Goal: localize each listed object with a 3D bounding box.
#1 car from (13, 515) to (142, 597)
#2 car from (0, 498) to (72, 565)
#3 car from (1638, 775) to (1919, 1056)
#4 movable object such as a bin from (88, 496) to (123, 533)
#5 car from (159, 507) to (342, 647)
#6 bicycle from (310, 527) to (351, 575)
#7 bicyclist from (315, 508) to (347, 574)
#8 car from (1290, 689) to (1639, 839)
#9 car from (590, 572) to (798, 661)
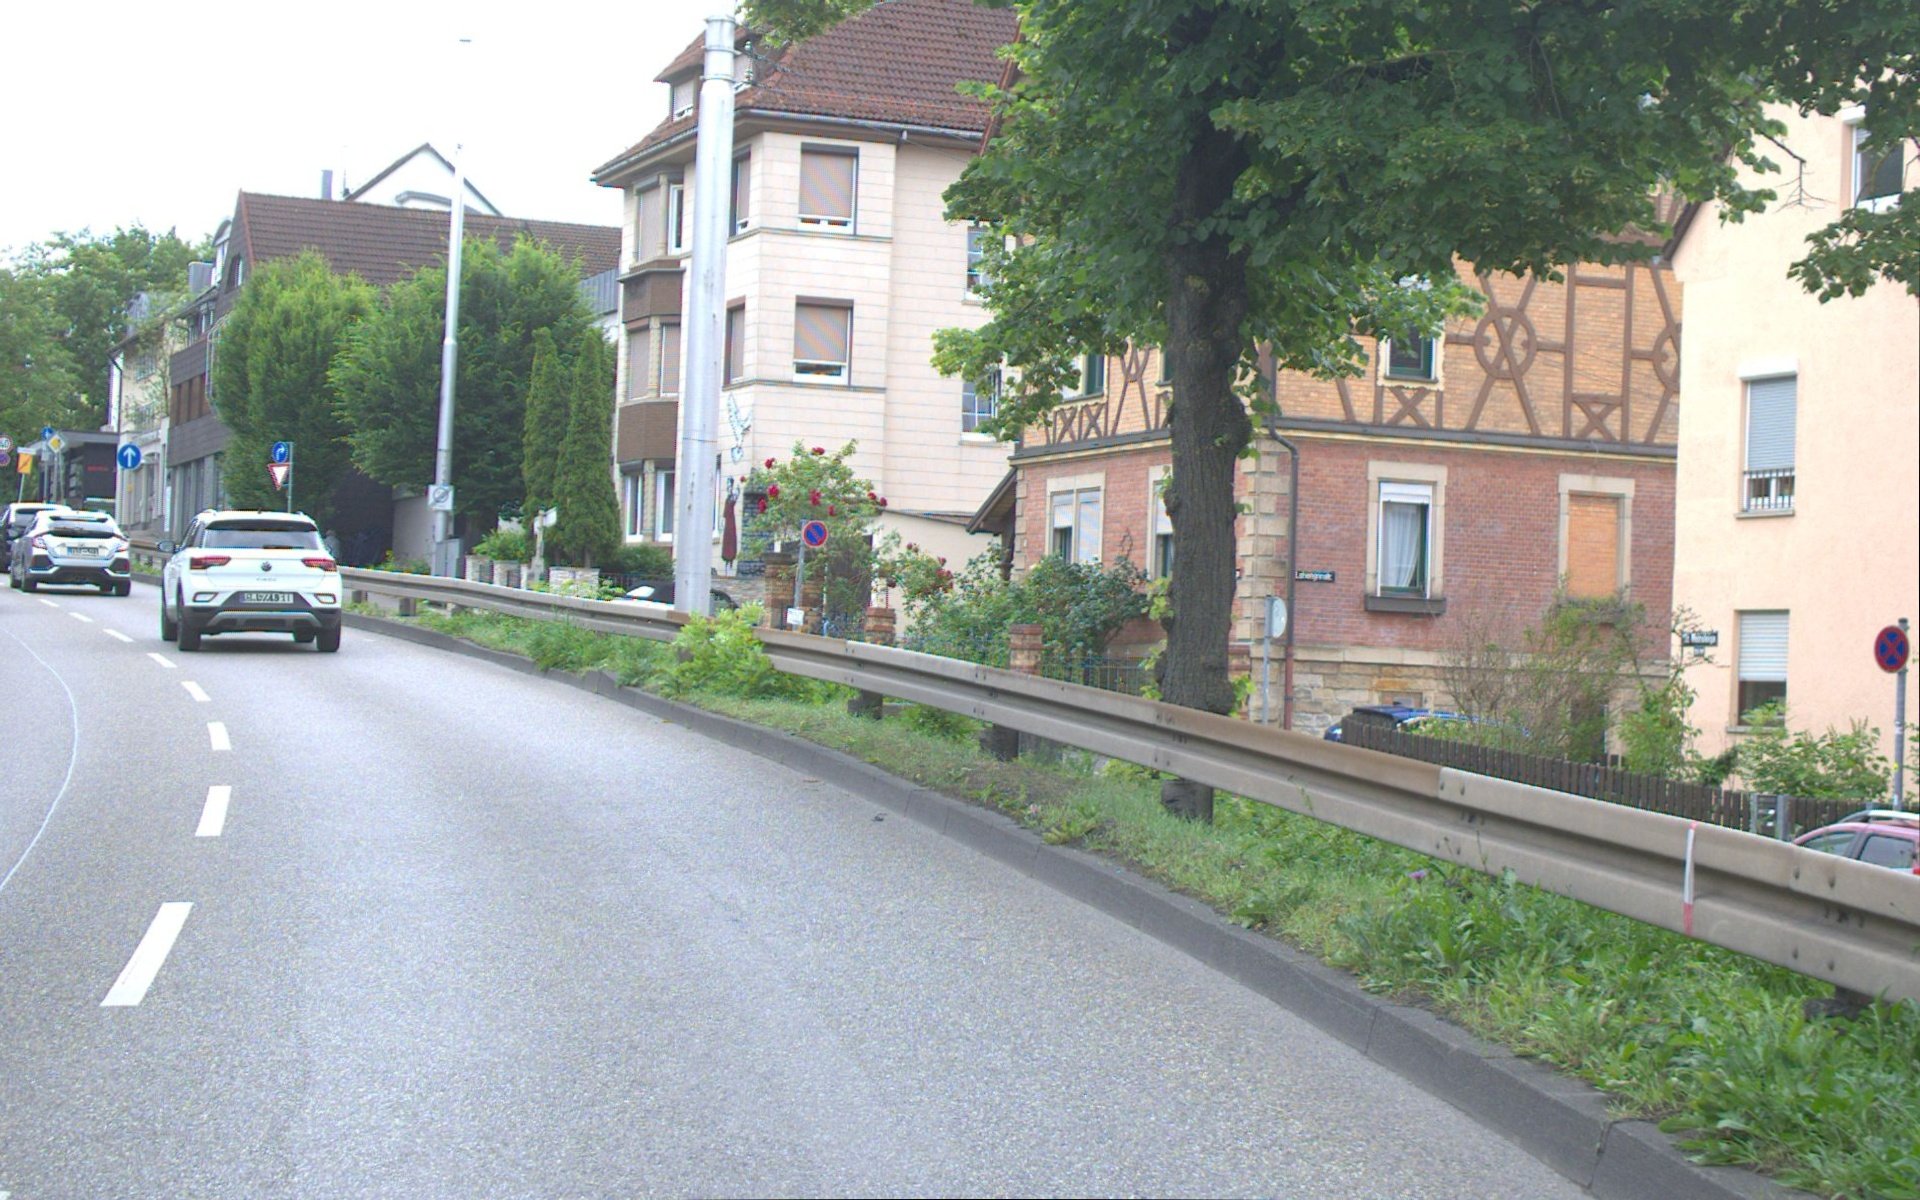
[{"bbox_3d":[-15.214,-0.773,59.171,1.722,1.371,3.457,0,1,-22],"label":"car"},{"bbox_3d":[-19.801,-1.457,72.302,1.722,1.371,3.457,0,1,-22],"label":"car"},{"bbox_3d":[7.092,2.361,25.602,1.781,1.664,4.204,3,1,-25],"label":"car"},{"bbox_3d":[-34.672,-3.457,139.465,1.195,1.403,0.711,4,1,-20],"label":"movable object such as a bin"},{"bbox_3d":[-8.105,-0.287,39.069,1.796,1.513,3.458,0,1,-16],"label":"car"},{"bbox_3d":[-14.834,-1.168,80.969,0.566,1.059,2.006,0,3,-22],"label":"bicycle"},{"bbox_3d":[-14.791,-1.384,80.847,0.566,1.519,0.959,0,3,-22],"label":"bicyclist"},{"bbox_3d":[6.664,2.162,45.511,3.986,1.568,2.001,5,1,-22],"label":"car"},{"bbox_3d":[-5.220,0.328,67.653,3.603,1.430,1.704,5,1,-36],"label":"car"}]
